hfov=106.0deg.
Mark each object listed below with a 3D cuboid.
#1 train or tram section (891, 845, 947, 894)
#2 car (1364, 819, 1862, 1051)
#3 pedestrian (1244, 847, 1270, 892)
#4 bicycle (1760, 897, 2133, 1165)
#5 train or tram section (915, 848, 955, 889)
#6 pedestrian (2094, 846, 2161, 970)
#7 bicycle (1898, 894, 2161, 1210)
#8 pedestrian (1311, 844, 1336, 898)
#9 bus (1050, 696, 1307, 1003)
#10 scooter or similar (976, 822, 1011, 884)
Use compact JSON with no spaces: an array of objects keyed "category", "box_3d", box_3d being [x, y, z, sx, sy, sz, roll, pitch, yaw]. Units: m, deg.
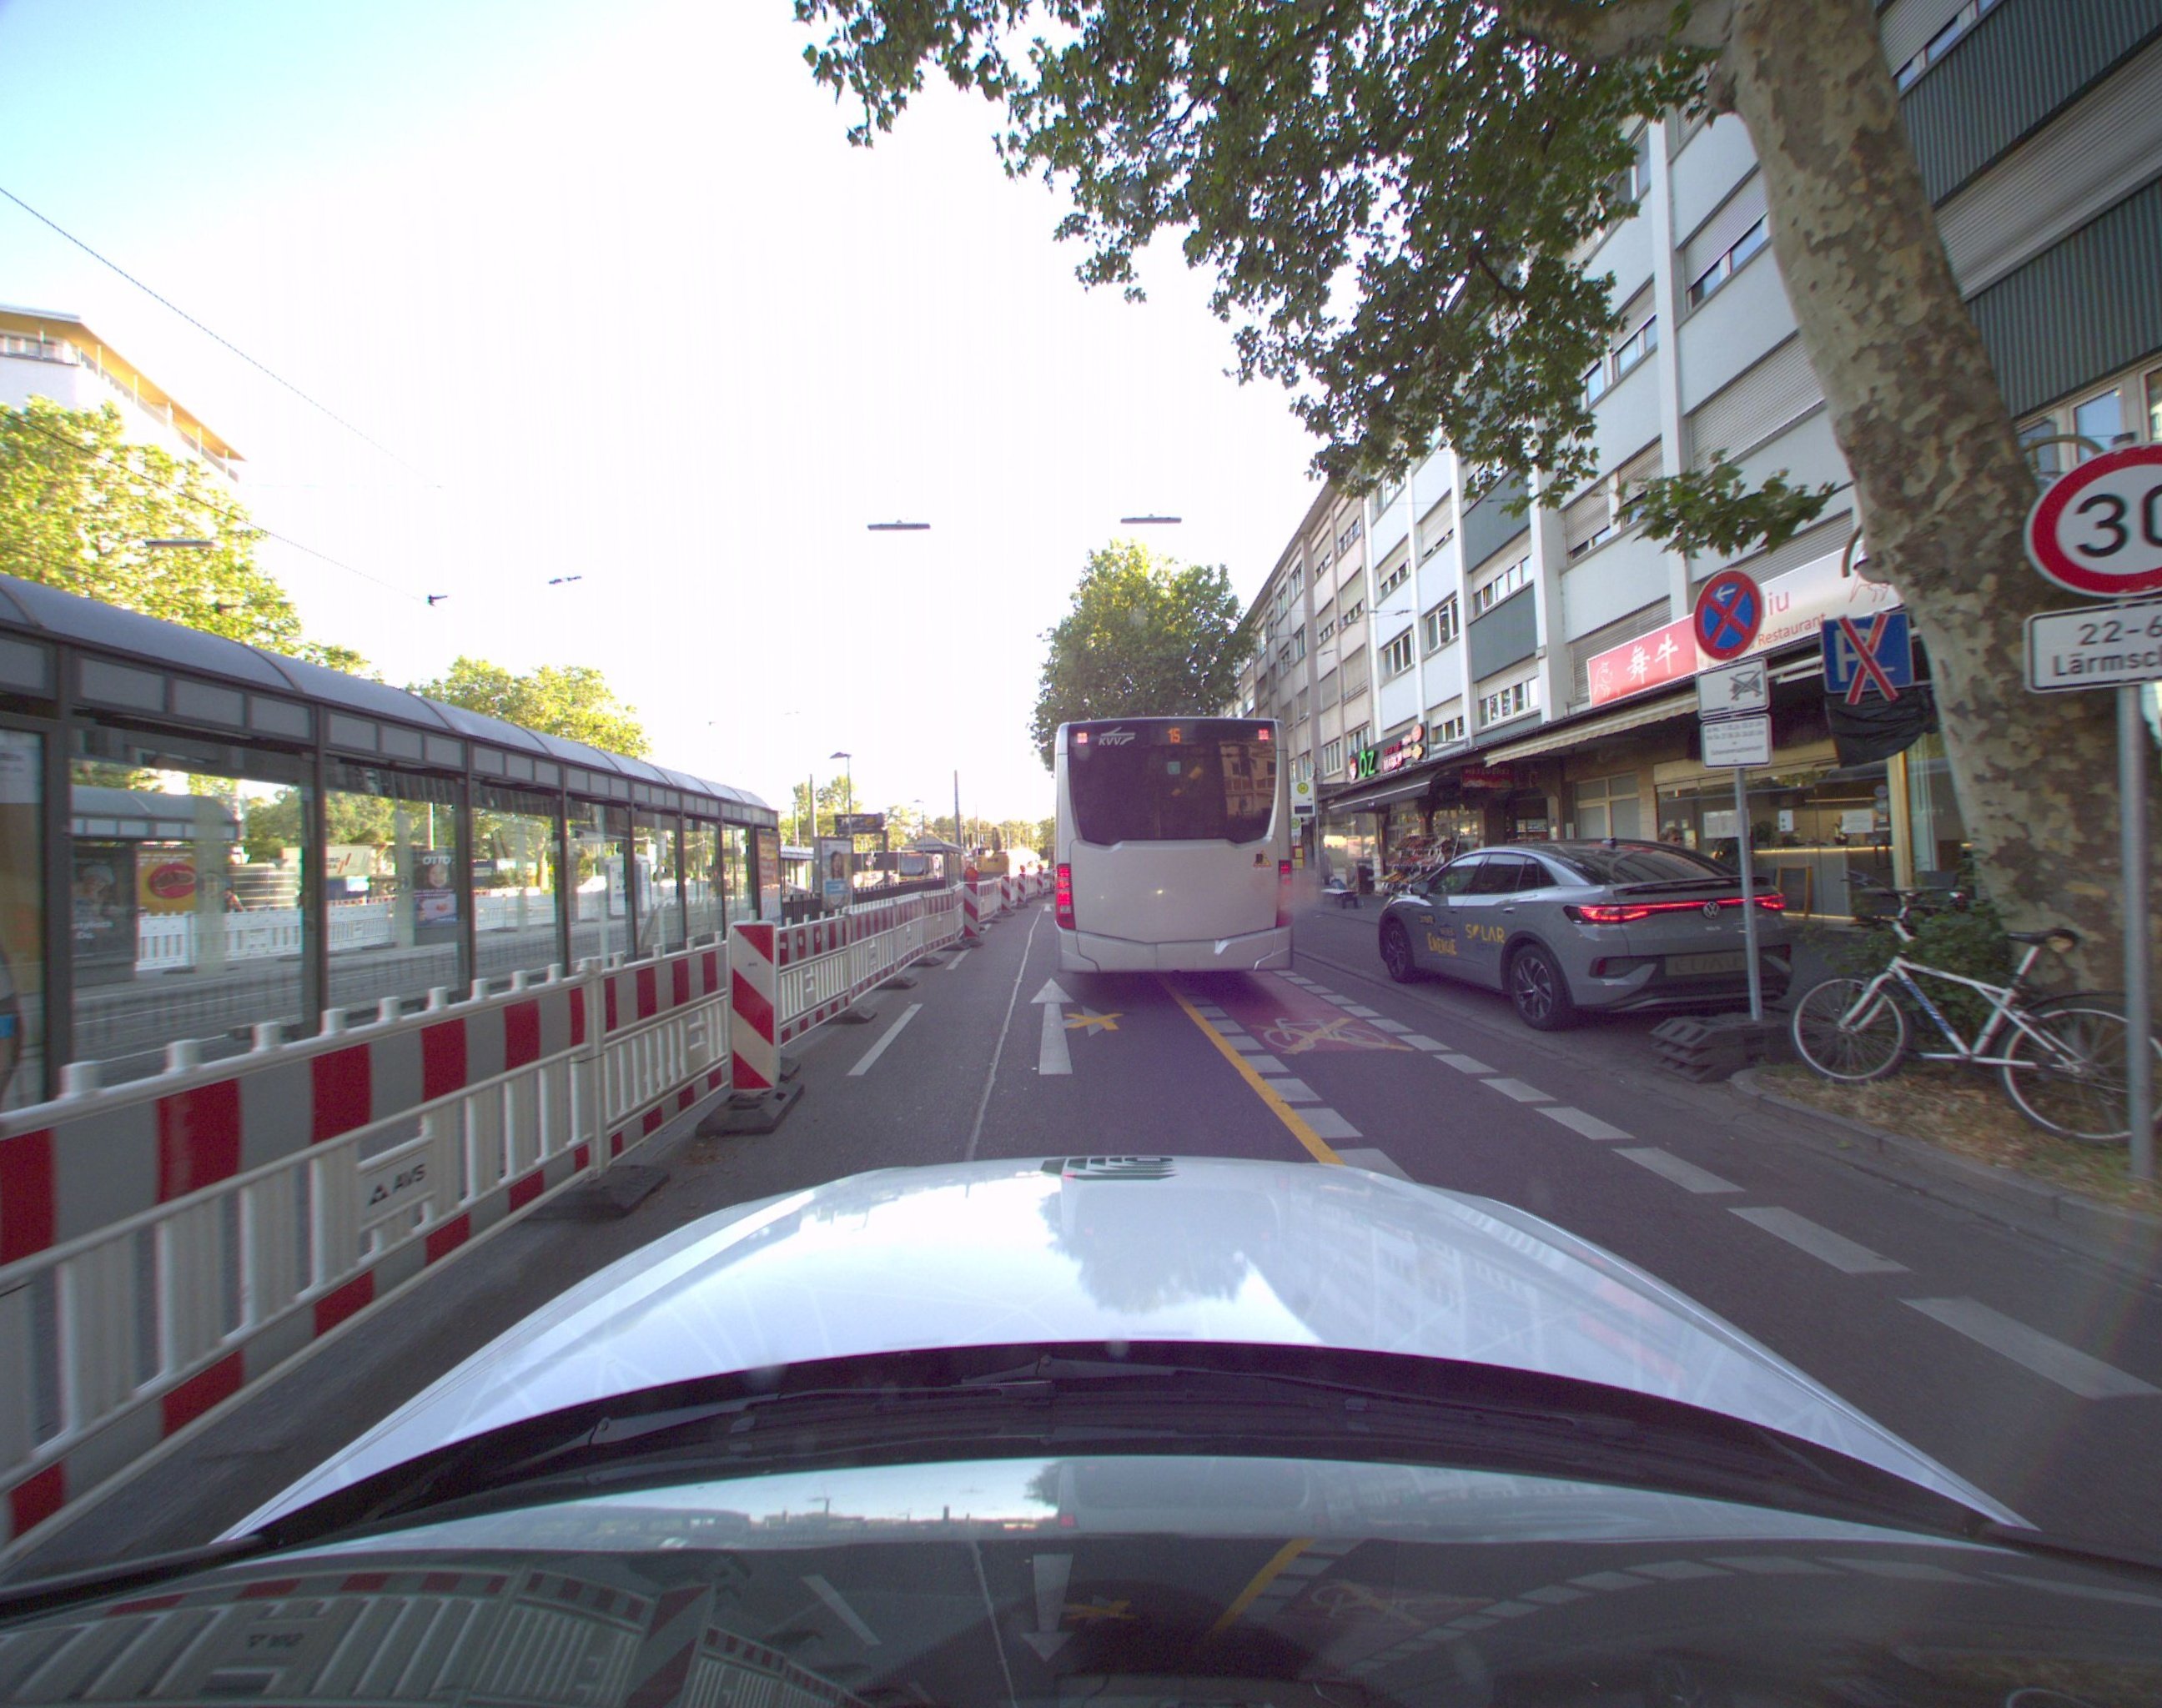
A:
[{"category":"train or tram section","box_3d":[-12.698,1.187,64.719,2.680,3.534,11.757,-1,-1,-3]},{"category":"car","box_3d":[4.750,0.610,8.262,1.989,1.582,4.364,-4,0,-3]},{"category":"pedestrian","box_3d":[6.734,0.583,31.099,0.871,1.691,0.622,-2,-1,16]},{"category":"bicycle","box_3d":[4.552,0.850,4.447,0.550,1.155,1.446,-2,-1,6]},{"category":"train or tram section","box_3d":[-13.551,1.332,76.356,2.682,3.559,11.560,0,-1,-5]},{"category":"pedestrian","box_3d":[9.853,0.469,7.287,0.643,1.081,0.945,-1,-1,-39]},{"category":"bicycle","box_3d":[5.029,0.727,3.303,2.370,1.155,0.557,-7,-2,14]},{"category":"pedestrian","box_3d":[7.807,0.549,26.209,0.658,1.667,0.603,-4,-1,18]},{"category":"bus","box_3d":[1.143,0.007,12.306,2.601,3.126,7.996,0,-1,2]},{"category":"scooter or similar","box_3d":[-6.730,-0.036,63.337,2.465,4.471,5.961,-2,-1,-5]}]
